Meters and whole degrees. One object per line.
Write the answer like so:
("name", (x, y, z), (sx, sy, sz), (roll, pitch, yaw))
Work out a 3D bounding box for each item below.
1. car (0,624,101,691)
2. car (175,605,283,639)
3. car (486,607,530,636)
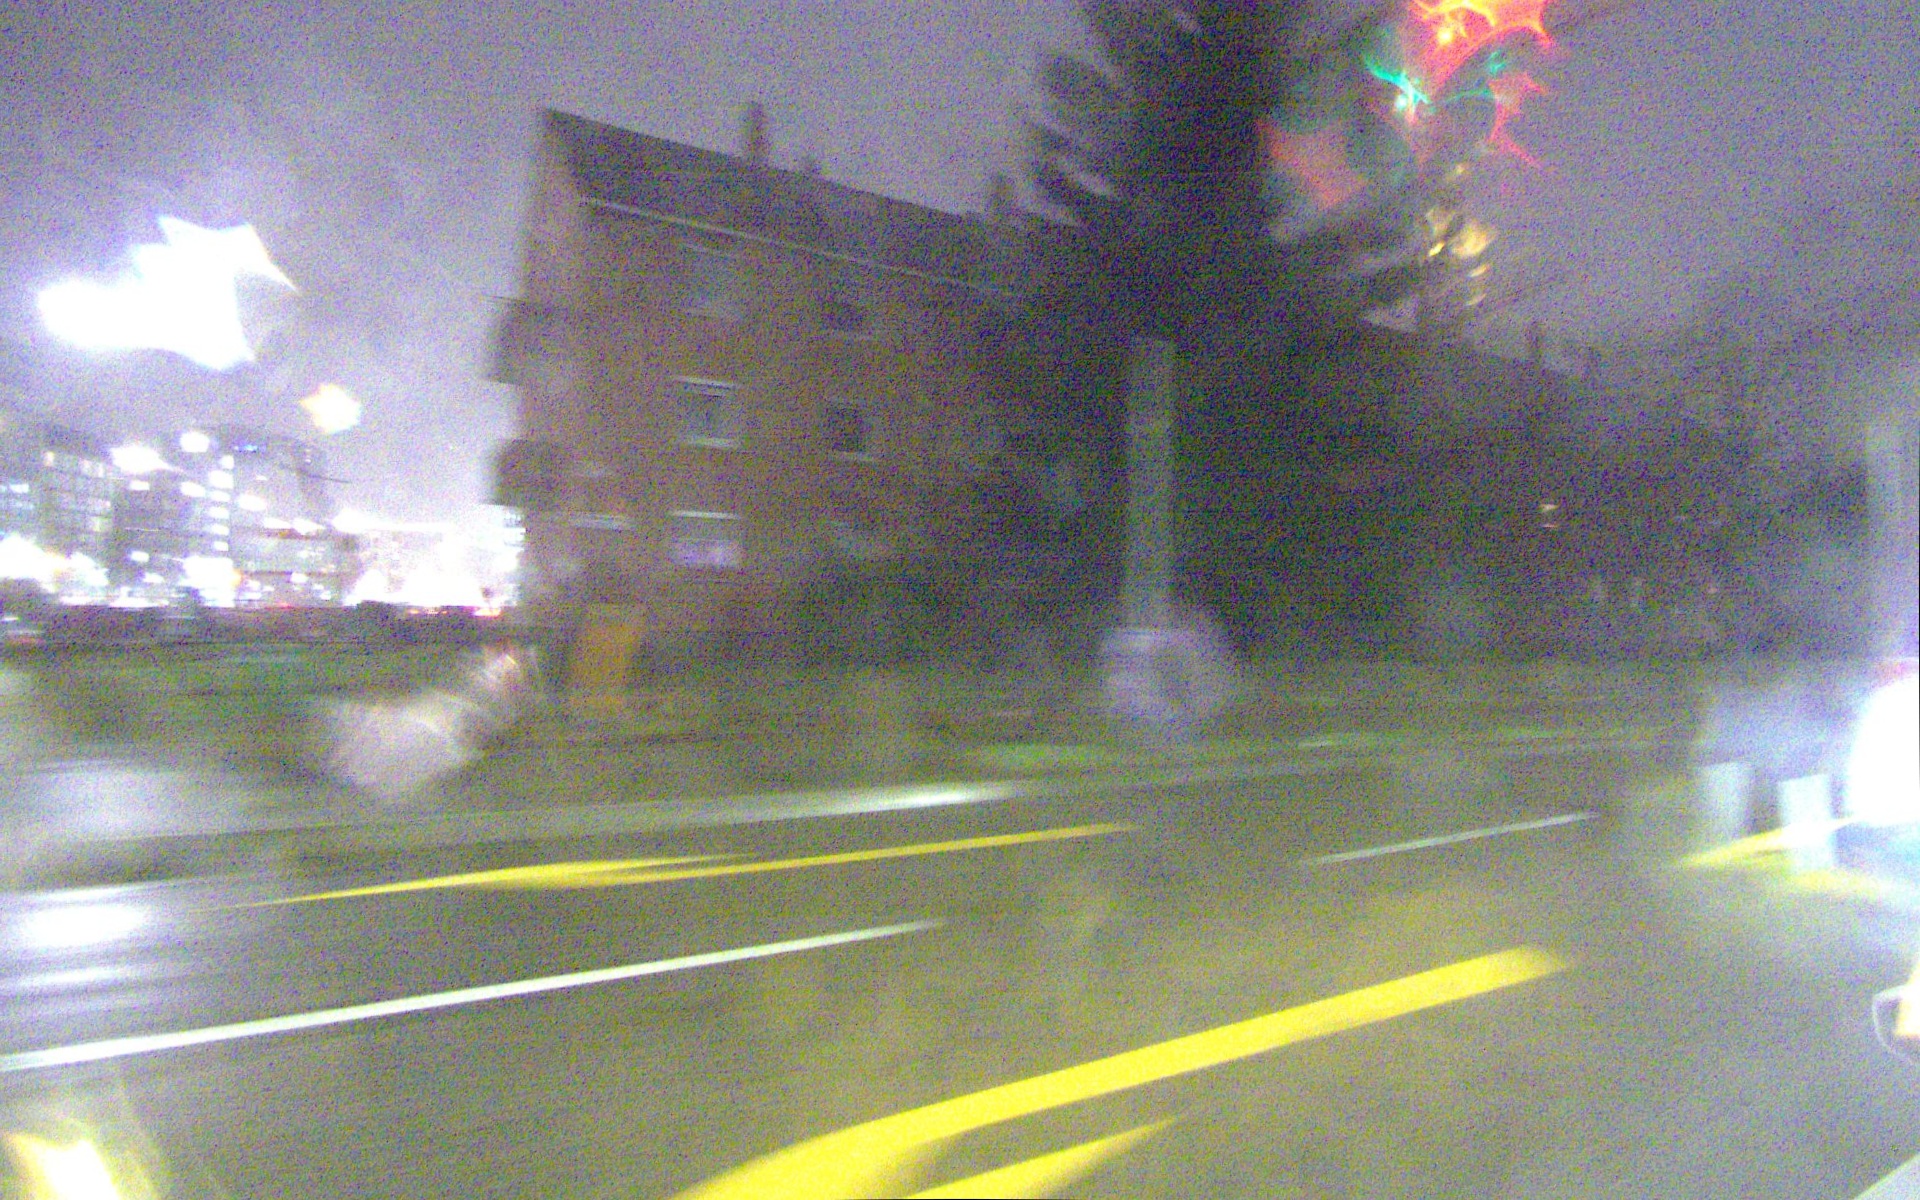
("car", (-20.933, 1.192, 21.413), (3.749, 1.353, 1.536), (1, -1, -6))
("car", (-40.949, 1.261, 56.404), (4.361, 1.642, 1.993), (4, -2, -17))
("car", (-29.879, 1.463, 66.460), (1.966, 1.862, 3.793), (1, -2, -14))
